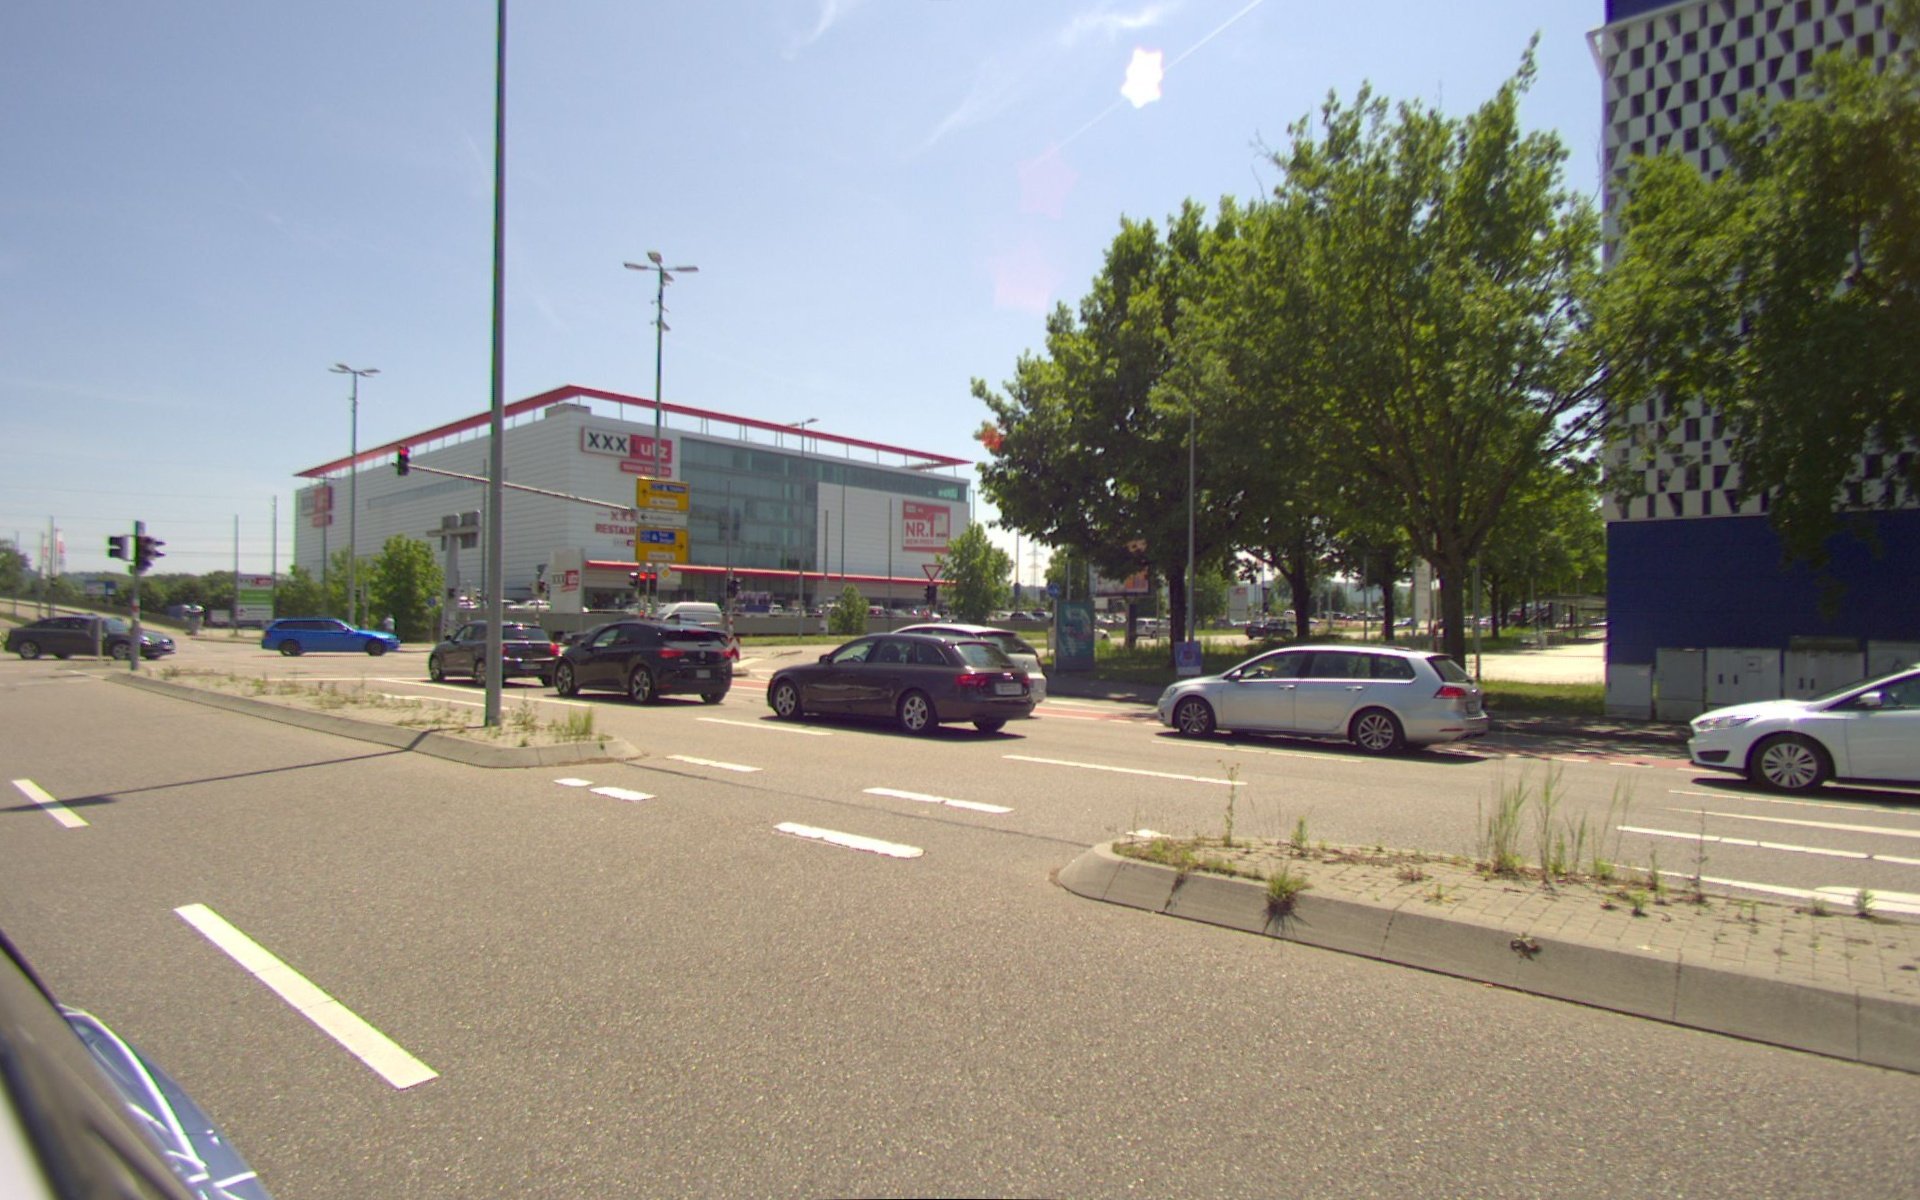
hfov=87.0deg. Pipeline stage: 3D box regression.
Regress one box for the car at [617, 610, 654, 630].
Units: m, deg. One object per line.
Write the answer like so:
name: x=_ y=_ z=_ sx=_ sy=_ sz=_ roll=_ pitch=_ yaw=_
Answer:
car: x=-33.462 y=2.061 z=104.364 sx=4.231 sy=2.029 sz=1.759 roll=-1 pitch=-2 yaw=41

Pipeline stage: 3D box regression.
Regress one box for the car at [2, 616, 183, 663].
car: x=-27.523 y=1.253 z=32.232 sx=4.024 sy=1.393 sz=1.774 roll=1 pitch=-2 yaw=-8

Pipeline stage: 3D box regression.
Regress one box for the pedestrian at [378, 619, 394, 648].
pedestrian: x=-35.193 y=2.055 z=62.062 sx=0.596 sy=1.797 sz=0.827 roll=2 pitch=-2 yaw=-45

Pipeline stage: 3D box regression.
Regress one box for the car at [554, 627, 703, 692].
car: x=-8.324 y=1.439 z=25.248 sx=4.035 sy=1.435 sz=1.643 roll=0 pitch=-2 yaw=40

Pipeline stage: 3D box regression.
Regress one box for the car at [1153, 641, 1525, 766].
car: x=5.204 y=1.340 z=14.285 sx=4.619 sy=1.433 sz=1.728 roll=-1 pitch=-4 yaw=40

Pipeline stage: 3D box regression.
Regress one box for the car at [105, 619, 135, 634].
car: x=-97.176 y=3.078 z=117.067 sx=3.998 sy=1.608 sz=1.973 roll=0 pitch=-1 yaw=41

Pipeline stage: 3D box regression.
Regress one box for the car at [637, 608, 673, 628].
car: x=-31.989 y=1.913 z=106.064 sx=4.133 sy=2.029 sz=1.759 roll=-1 pitch=-2 yaw=41

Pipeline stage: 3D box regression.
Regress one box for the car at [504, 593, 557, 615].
car: x=-40.819 y=0.423 z=96.260 sx=1.678 sy=2.029 sz=4.413 roll=-1 pitch=-2 yaw=41

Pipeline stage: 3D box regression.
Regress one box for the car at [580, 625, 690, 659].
car: x=-14.416 y=1.864 z=45.065 sx=1.677 sy=1.415 sz=4.404 roll=-2 pitch=-3 yaw=42

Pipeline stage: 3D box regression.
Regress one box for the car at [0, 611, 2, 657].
car: x=-37.163 y=1.277 z=36.797 sx=4.461 sy=1.653 sz=1.757 roll=-1 pitch=-1 yaw=23

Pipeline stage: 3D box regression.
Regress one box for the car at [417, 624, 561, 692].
car: x=-10.984 y=1.311 z=23.524 sx=3.714 sy=1.399 sz=1.626 roll=0 pitch=-3 yaw=41

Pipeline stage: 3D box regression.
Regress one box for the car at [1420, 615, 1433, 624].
car: x=79.500 y=3.294 z=172.564 sx=1.690 sy=1.433 sz=3.502 roll=-2 pitch=-2 yaw=29

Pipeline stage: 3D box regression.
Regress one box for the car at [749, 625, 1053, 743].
car: x=-1.027 y=1.169 z=15.270 sx=4.718 sy=1.457 sz=1.708 roll=0 pitch=-3 yaw=41

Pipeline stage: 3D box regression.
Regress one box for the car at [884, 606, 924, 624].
car: x=-6.250 y=1.663 z=112.987 sx=4.327 sy=2.029 sz=1.973 roll=-1 pitch=-2 yaw=41

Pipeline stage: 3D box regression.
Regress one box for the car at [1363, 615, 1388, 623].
car: x=75.905 y=3.502 z=184.974 sx=3.996 sy=1.433 sz=1.679 roll=0 pitch=-2 yaw=32

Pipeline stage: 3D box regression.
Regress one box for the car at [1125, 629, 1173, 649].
car: x=14.102 y=2.943 z=75.300 sx=1.697 sy=1.433 sz=3.953 roll=-2 pitch=-4 yaw=42

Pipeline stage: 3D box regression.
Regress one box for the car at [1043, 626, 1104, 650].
car: x=7.201 y=2.427 z=63.929 sx=1.794 sy=1.447 sz=4.011 roll=-3 pitch=-4 yaw=44

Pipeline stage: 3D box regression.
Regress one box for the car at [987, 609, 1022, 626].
car: x=5.524 y=2.115 z=124.801 sx=3.998 sy=2.029 sz=1.973 roll=-1 pitch=-2 yaw=41

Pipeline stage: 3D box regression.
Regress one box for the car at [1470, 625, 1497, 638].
car: x=64.562 y=3.928 z=124.851 sx=2.000 sy=1.564 sz=3.944 roll=-1 pitch=-2 yaw=42

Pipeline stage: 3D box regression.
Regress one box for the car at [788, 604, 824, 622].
car: x=-17.710 y=1.460 z=116.612 sx=3.998 sy=2.029 sz=1.973 roll=-1 pitch=-2 yaw=41

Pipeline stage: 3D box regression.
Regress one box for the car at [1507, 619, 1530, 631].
car: x=75.844 y=3.402 z=137.348 sx=1.999 sy=1.564 sz=3.945 roll=-1 pitch=-2 yaw=41

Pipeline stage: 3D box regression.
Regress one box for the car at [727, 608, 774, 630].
car: x=-19.877 y=1.770 z=96.003 sx=4.322 sy=2.029 sz=1.975 roll=-1 pitch=-2 yaw=37

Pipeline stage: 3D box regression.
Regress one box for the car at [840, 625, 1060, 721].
car: x=-0.250 y=1.276 z=18.805 sx=3.913 sy=1.556 sz=1.709 roll=0 pitch=-2 yaw=40

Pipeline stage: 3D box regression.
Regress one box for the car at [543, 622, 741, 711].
car: x=-6.298 y=1.242 z=19.809 sx=4.241 sy=1.517 sz=1.708 roll=0 pitch=-3 yaw=41

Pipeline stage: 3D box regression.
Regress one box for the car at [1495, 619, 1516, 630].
car: x=78.721 y=3.537 z=146.085 sx=1.853 sy=1.638 sz=3.745 roll=-1 pitch=-2 yaw=42

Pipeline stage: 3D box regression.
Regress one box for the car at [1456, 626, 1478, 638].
car: x=66.629 y=4.167 z=133.048 sx=1.645 sy=1.564 sz=3.372 roll=-1 pitch=-2 yaw=44

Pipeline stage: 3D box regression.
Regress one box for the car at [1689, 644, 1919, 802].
car: x=10.035 y=1.240 z=10.029 sx=4.449 sy=1.457 sz=1.709 roll=0 pitch=-3 yaw=41

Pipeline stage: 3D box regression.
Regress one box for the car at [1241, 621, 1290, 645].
car: x=23.505 y=2.571 z=77.724 sx=1.803 sy=1.452 sz=4.492 roll=-7 pitch=-10 yaw=42

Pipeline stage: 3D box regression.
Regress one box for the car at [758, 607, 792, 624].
car: x=-22.069 y=1.825 z=120.823 sx=3.998 sy=2.029 sz=1.973 roll=-1 pitch=-2 yaw=41

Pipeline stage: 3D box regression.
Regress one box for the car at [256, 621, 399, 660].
car: x=-23.798 y=1.533 z=38.255 sx=4.354 sy=1.414 sz=1.776 roll=1 pitch=-3 yaw=-24

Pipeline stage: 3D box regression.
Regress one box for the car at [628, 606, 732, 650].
car: x=-14.688 y=1.480 z=53.299 sx=2.001 sy=2.200 sz=4.975 roll=-2 pitch=-3 yaw=45

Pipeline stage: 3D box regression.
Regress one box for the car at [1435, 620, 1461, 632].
car: x=61.436 y=3.265 z=127.374 sx=1.926 sy=1.564 sz=3.556 roll=-1 pitch=-2 yaw=44

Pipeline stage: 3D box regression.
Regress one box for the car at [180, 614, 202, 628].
car: x=-131.290 y=3.576 z=172.804 sx=4.814 sy=2.300 sz=2.162 roll=-1 pitch=-2 yaw=43
